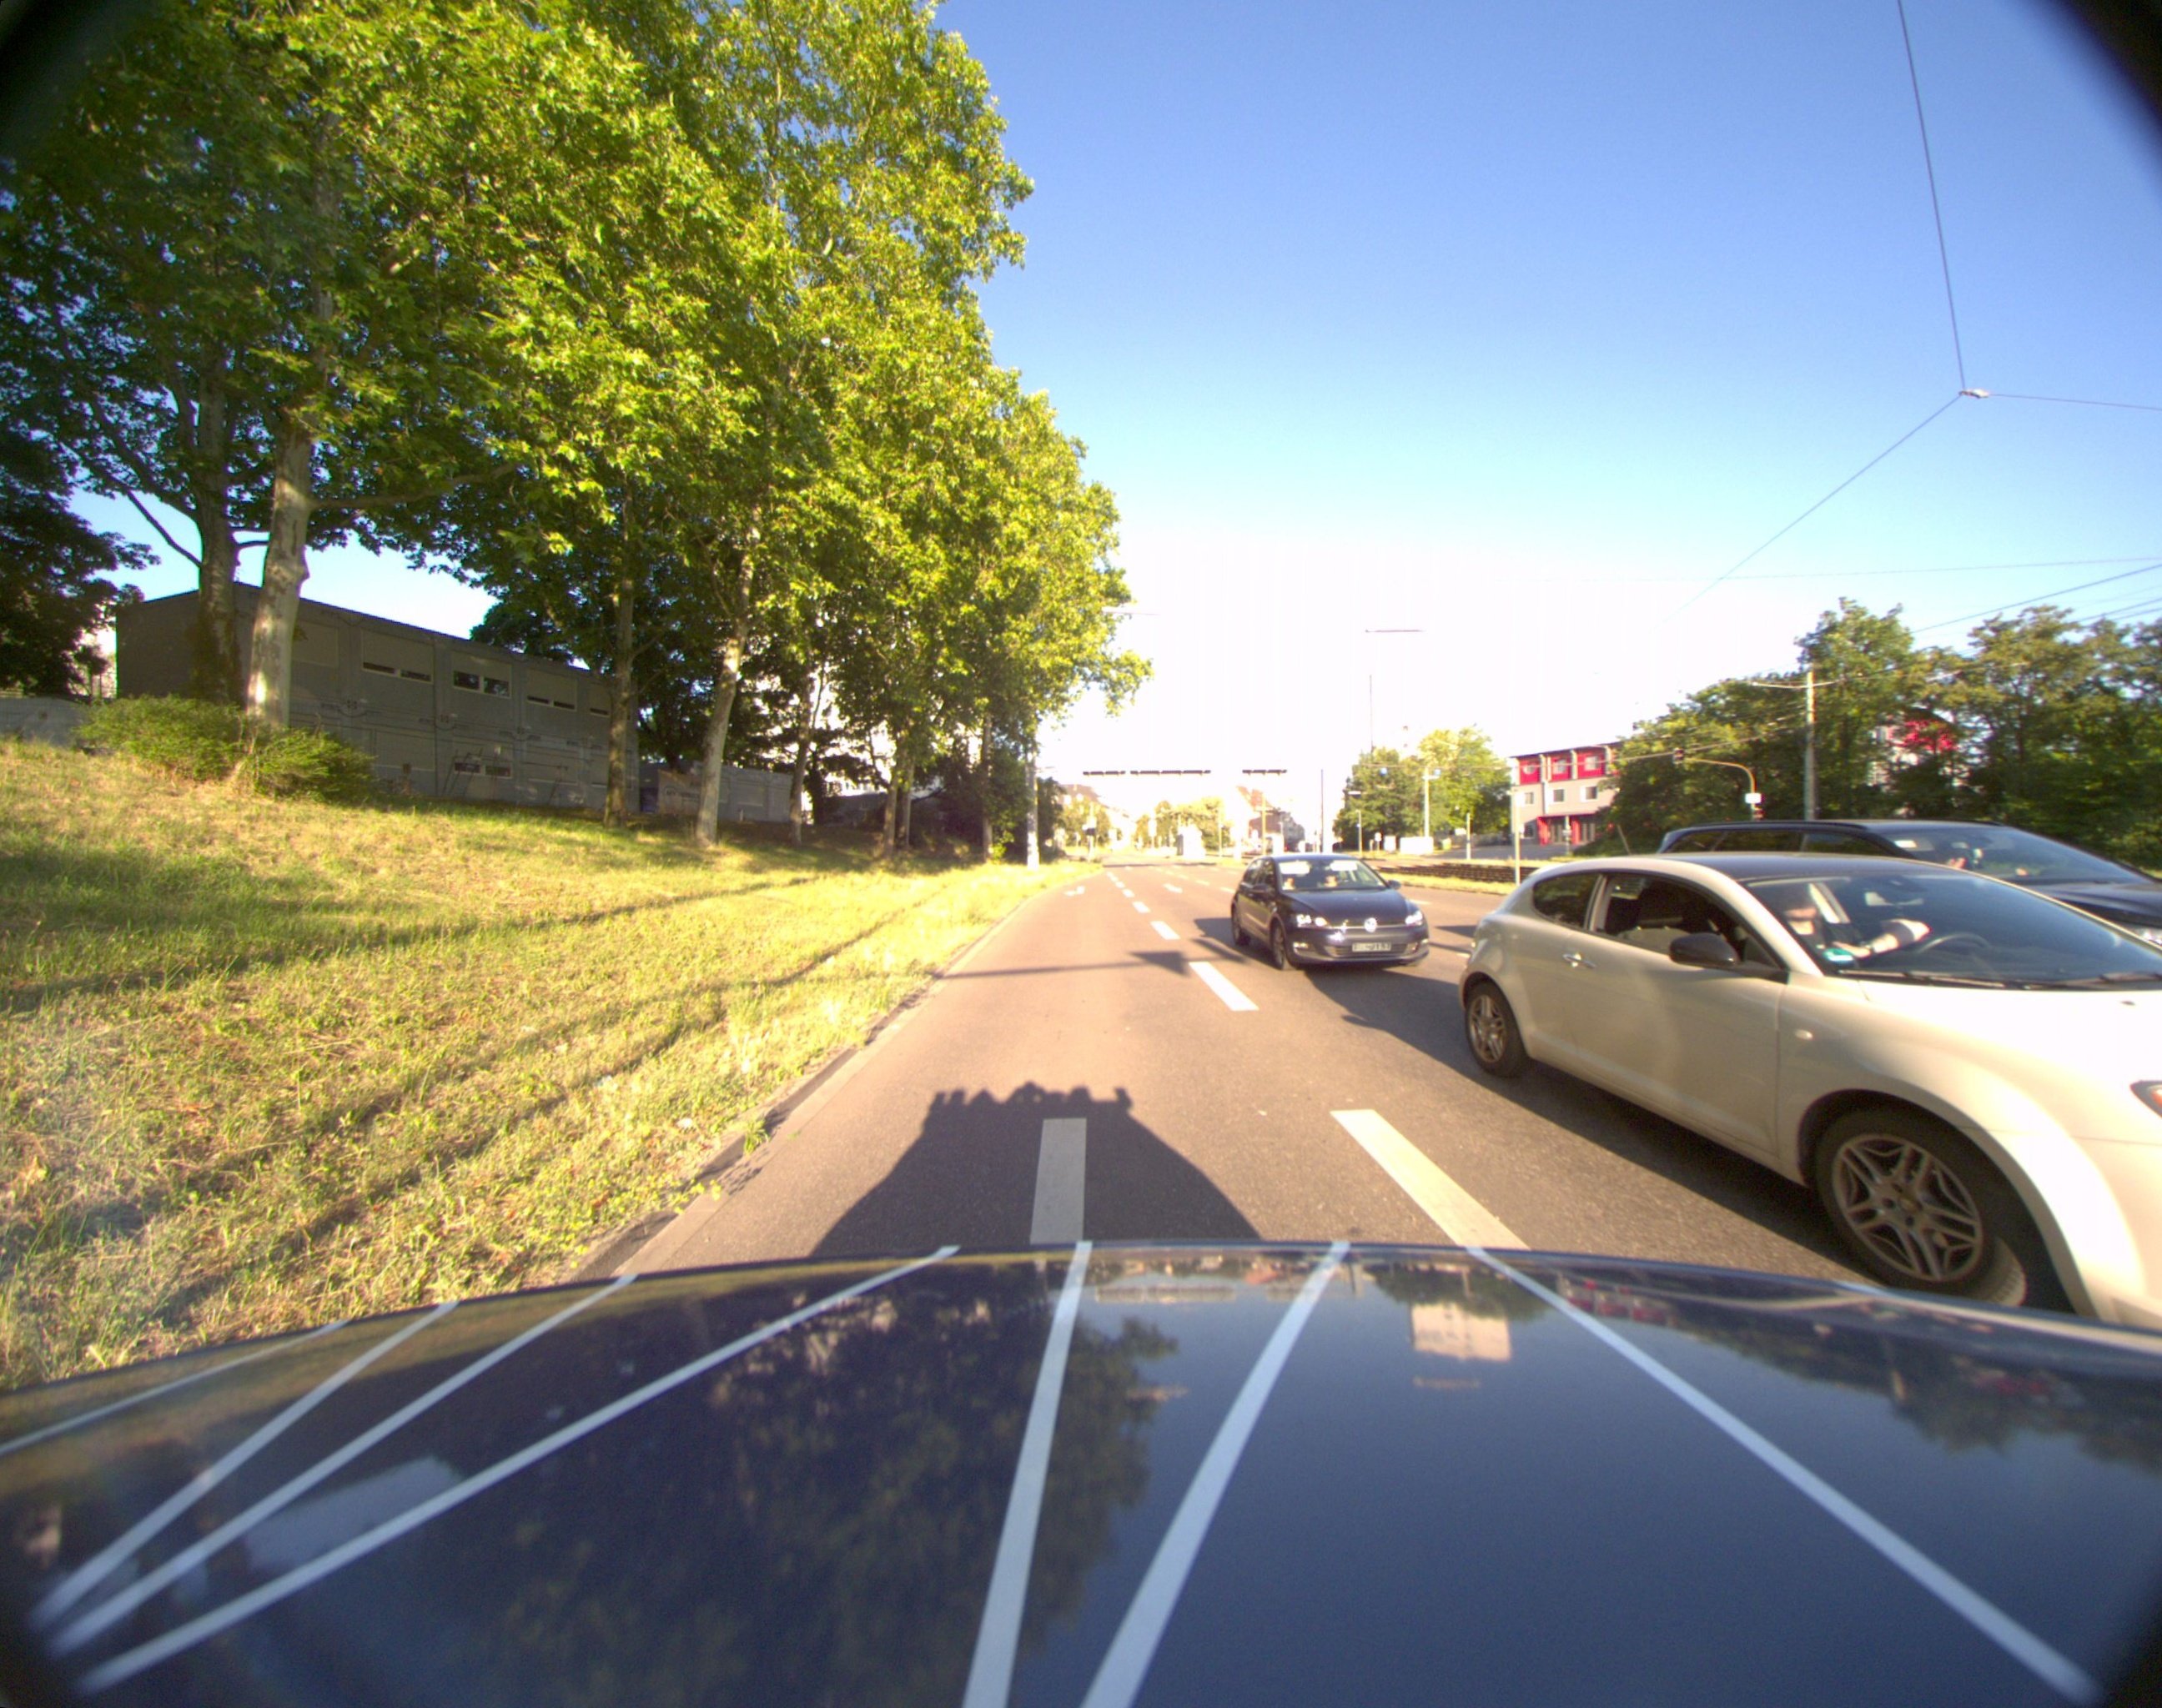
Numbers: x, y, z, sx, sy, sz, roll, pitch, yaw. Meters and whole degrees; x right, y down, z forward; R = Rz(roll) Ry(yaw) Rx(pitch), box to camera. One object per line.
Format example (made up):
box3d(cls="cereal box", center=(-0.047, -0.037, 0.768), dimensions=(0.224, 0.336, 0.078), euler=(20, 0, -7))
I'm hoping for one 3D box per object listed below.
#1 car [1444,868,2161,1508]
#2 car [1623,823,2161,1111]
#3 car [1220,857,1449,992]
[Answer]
box3d(cls="car", center=(3.420, 0.843, 3.406), dimensions=(1.665, 1.422, 3.923), euler=(-1, 0, -1))
box3d(cls="car", center=(7.226, 0.608, 6.574), dimensions=(1.920, 1.639, 4.602), euler=(-1, 0, 2))
box3d(cls="car", center=(3.201, 0.789, 10.451), dimensions=(1.782, 1.422, 3.923), euler=(-1, 0, -1))
